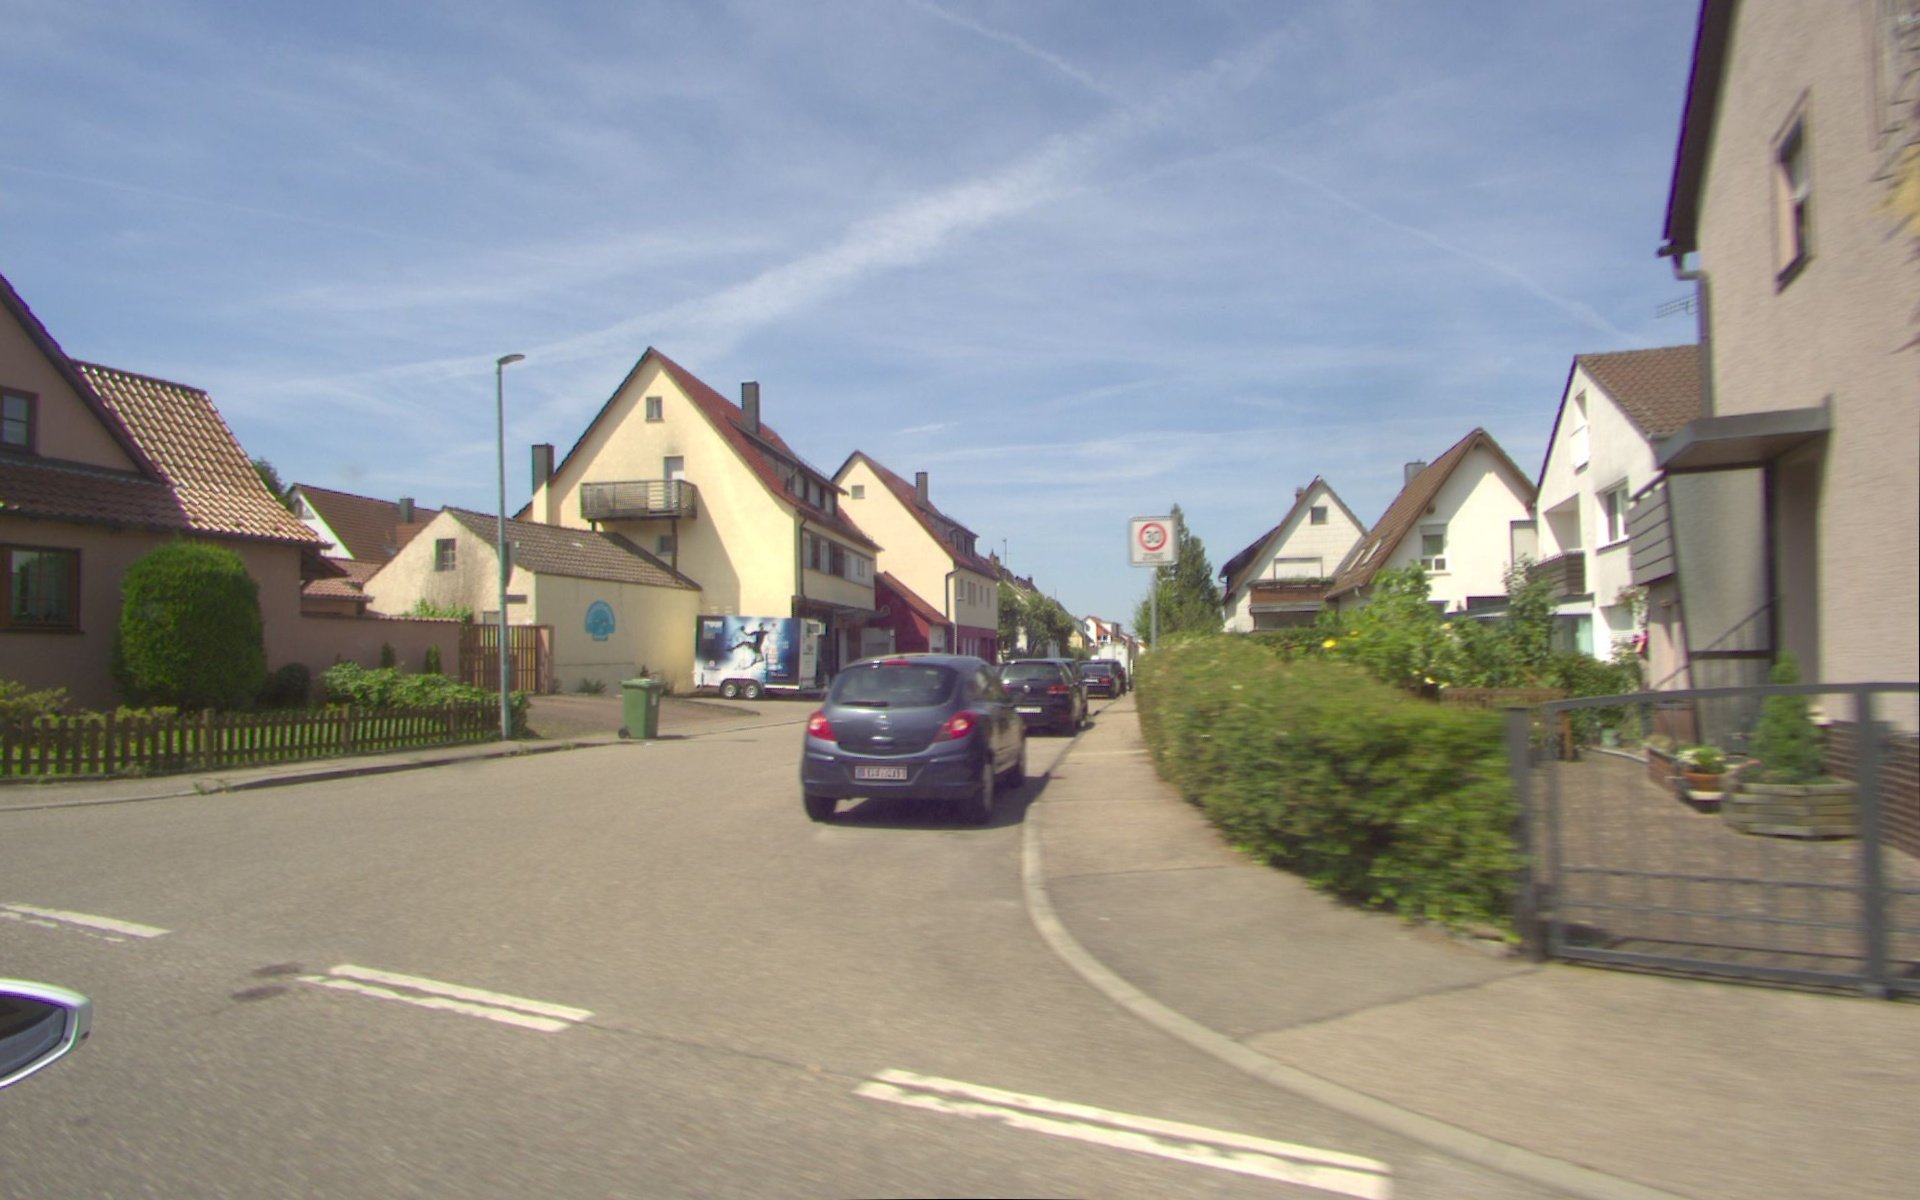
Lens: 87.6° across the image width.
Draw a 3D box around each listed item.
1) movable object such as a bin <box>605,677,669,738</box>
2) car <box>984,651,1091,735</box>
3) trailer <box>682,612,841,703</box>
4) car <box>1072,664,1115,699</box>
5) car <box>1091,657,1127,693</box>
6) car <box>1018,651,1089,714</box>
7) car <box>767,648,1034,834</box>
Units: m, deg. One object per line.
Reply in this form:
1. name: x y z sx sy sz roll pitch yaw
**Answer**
1. movable object such as a bin: -5.993 1.984 18.583 0.992 1.109 0.499 0 -2 5
2. car: 1.691 1.830 20.566 1.819 1.506 3.909 0 -2 10
3. trailer: -6.451 1.871 32.841 4.675 2.848 2.001 0 -3 9
4. car: 5.571 3.349 41.548 1.616 1.341 3.448 0 -3 10
5. car: 7.146 3.554 47.823 1.616 1.622 3.448 0 -3 10
6. car: 2.560 2.160 26.751 1.616 1.552 3.448 0 -3 10
7. car: -0.377 1.263 10.208 1.854 1.506 3.818 0 -3 10
